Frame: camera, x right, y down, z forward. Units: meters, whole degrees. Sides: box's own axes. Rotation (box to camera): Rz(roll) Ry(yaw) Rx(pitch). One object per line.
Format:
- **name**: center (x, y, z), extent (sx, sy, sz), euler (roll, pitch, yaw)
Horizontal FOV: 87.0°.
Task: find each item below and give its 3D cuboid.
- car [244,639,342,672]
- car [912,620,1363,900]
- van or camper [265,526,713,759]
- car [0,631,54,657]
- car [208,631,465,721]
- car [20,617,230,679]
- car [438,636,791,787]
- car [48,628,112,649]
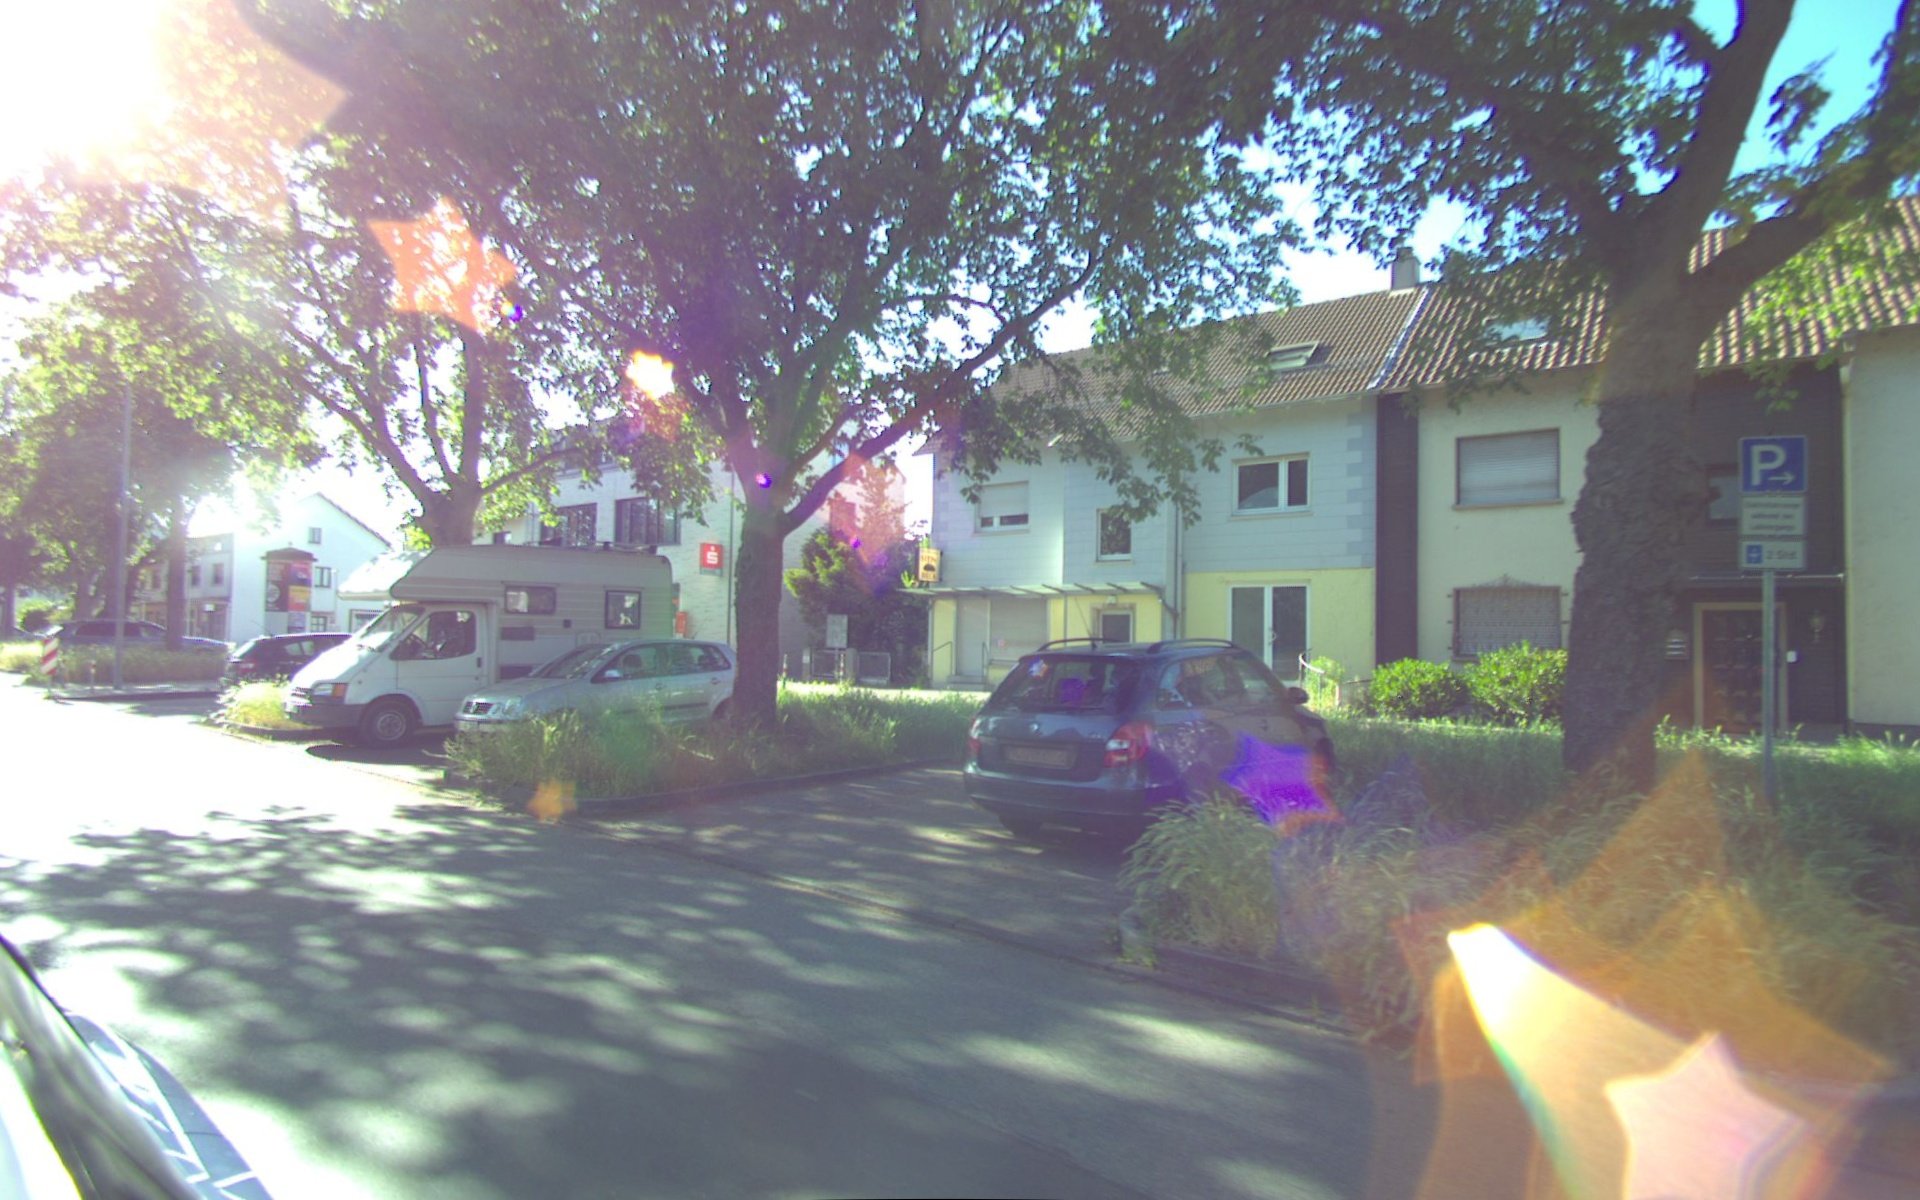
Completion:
- **car**: center (-36.303, 3.040, 55.200), extent (1.995, 1.650, 3.953), euler (-1, -4, 34)
- **car**: center (1.669, 1.027, 8.390), extent (1.998, 1.601, 3.947), euler (-1, 0, 39)
- **van or camper**: center (-6.706, 0.488, 15.083), extent (2.000, 2.826, 5.714), euler (-1, 0, 42)
- **car**: center (-55.549, 2.564, 58.644), extent (1.998, 1.427, 4.337), euler (-1, -1, 40)
- **car**: center (-11.889, 1.368, 19.486), extent (1.640, 1.460, 3.942), euler (-1, -1, 44)
- **car**: center (-27.348, 1.511, 33.339), extent (1.997, 1.741, 5.015), euler (-1, 0, 37)
- **car**: center (-4.398, 1.307, 13.341), extent (1.998, 1.469, 3.948), euler (-1, 0, 39)
- **car**: center (-71.340, 3.129, 82.071), extent (1.692, 1.577, 3.722), euler (-1, -4, 44)
